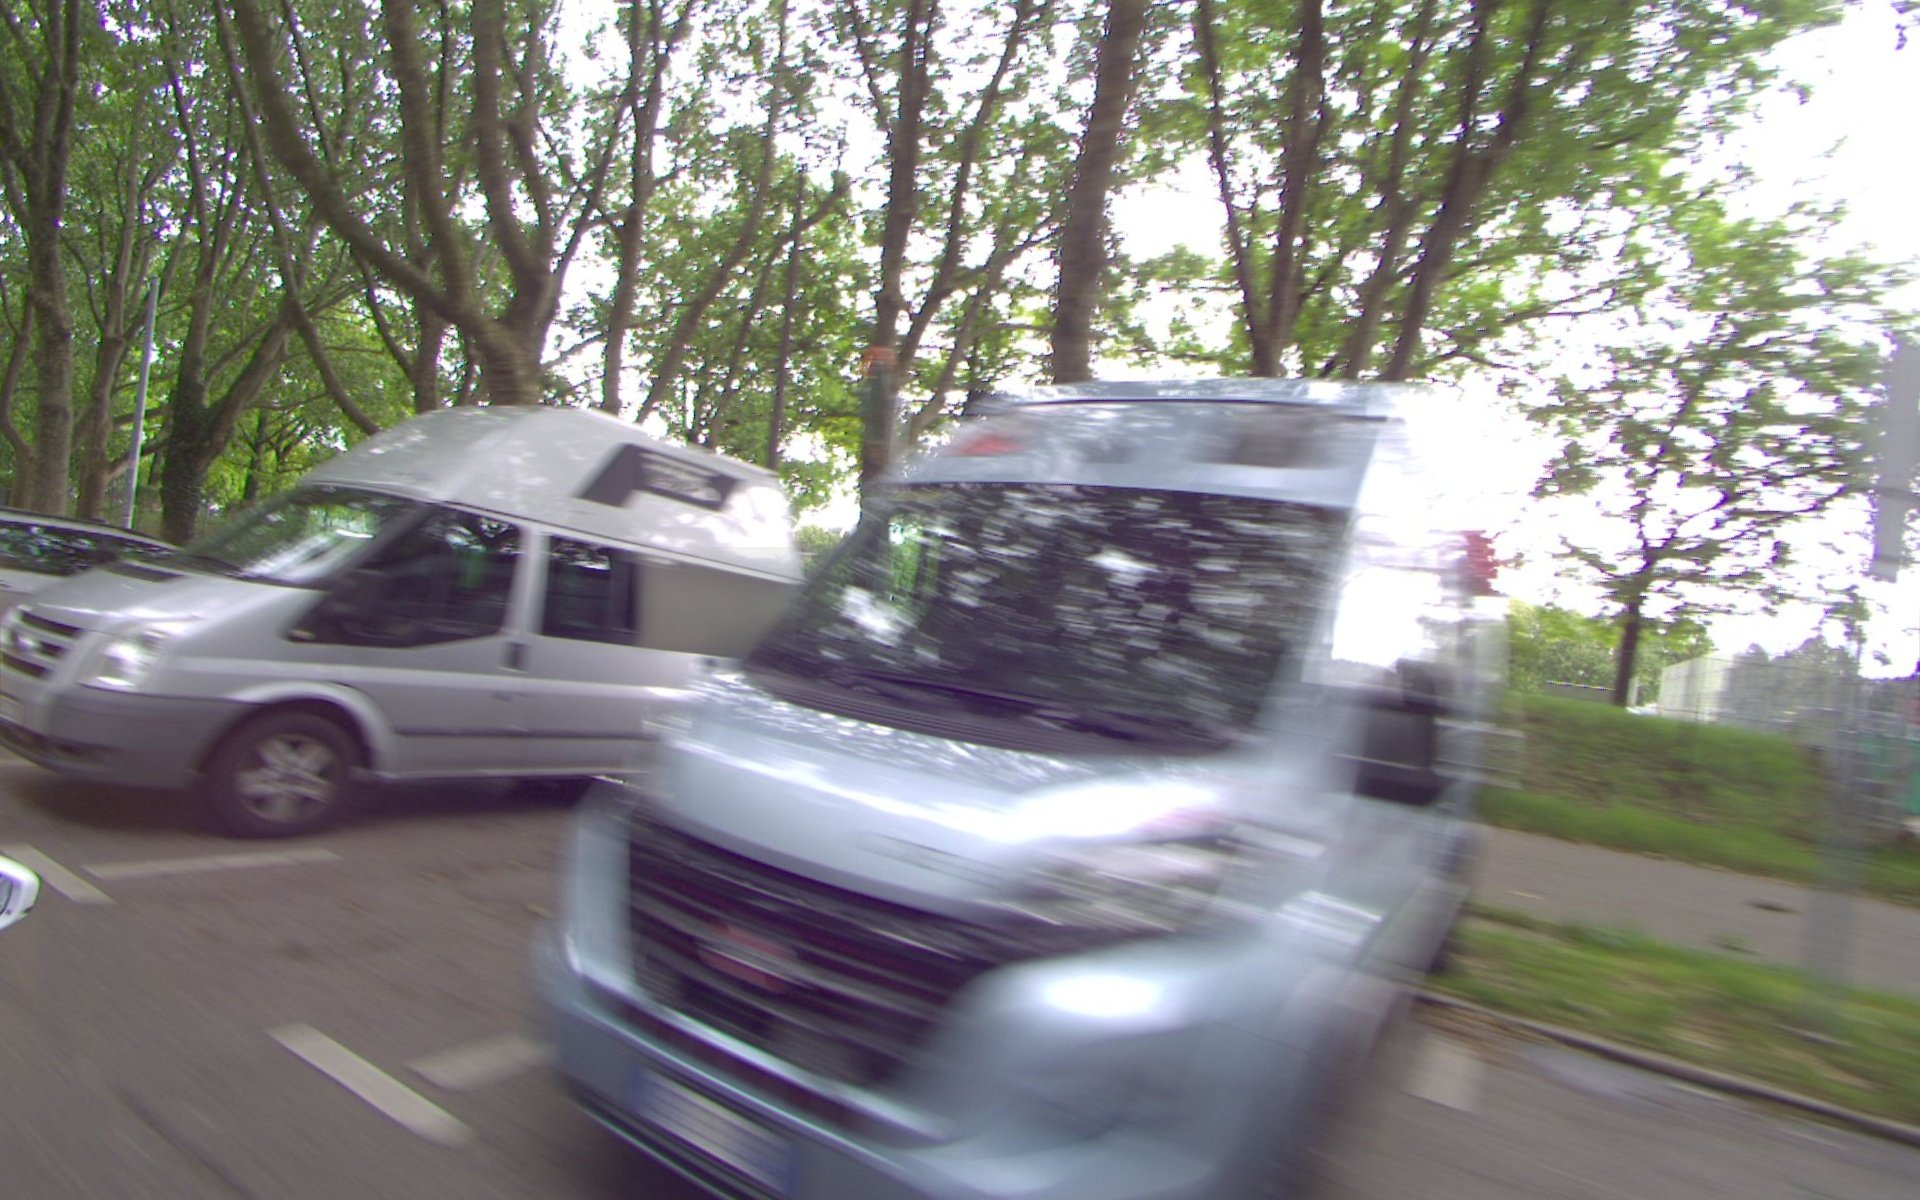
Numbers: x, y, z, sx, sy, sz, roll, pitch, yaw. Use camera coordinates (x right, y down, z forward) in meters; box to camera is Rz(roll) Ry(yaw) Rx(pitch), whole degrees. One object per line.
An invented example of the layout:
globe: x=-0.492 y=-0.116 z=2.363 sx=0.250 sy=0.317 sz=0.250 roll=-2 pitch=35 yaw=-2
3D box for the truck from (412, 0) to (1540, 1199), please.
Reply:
truck: x=1.262 y=0.496 z=4.747 sx=2.063 sy=2.746 sz=6.306 roll=7 pitch=-2 yaw=32

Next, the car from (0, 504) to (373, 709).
car: x=-7.798 y=0.009 z=8.841 sx=1.675 sy=1.443 sz=4.131 roll=6 pitch=-5 yaw=33

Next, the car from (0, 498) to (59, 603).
car: x=-16.260 y=-1.042 z=14.468 sx=1.674 sy=1.543 sz=4.514 roll=7 pitch=-3 yaw=29

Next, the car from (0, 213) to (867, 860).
car: x=-3.142 y=-0.061 z=6.931 sx=1.925 sy=2.719 sz=5.241 roll=7 pitch=-3 yaw=32

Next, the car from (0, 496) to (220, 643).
car: x=-11.830 y=-0.498 z=12.244 sx=1.784 sy=1.543 sz=4.055 roll=7 pitch=-3 yaw=29
